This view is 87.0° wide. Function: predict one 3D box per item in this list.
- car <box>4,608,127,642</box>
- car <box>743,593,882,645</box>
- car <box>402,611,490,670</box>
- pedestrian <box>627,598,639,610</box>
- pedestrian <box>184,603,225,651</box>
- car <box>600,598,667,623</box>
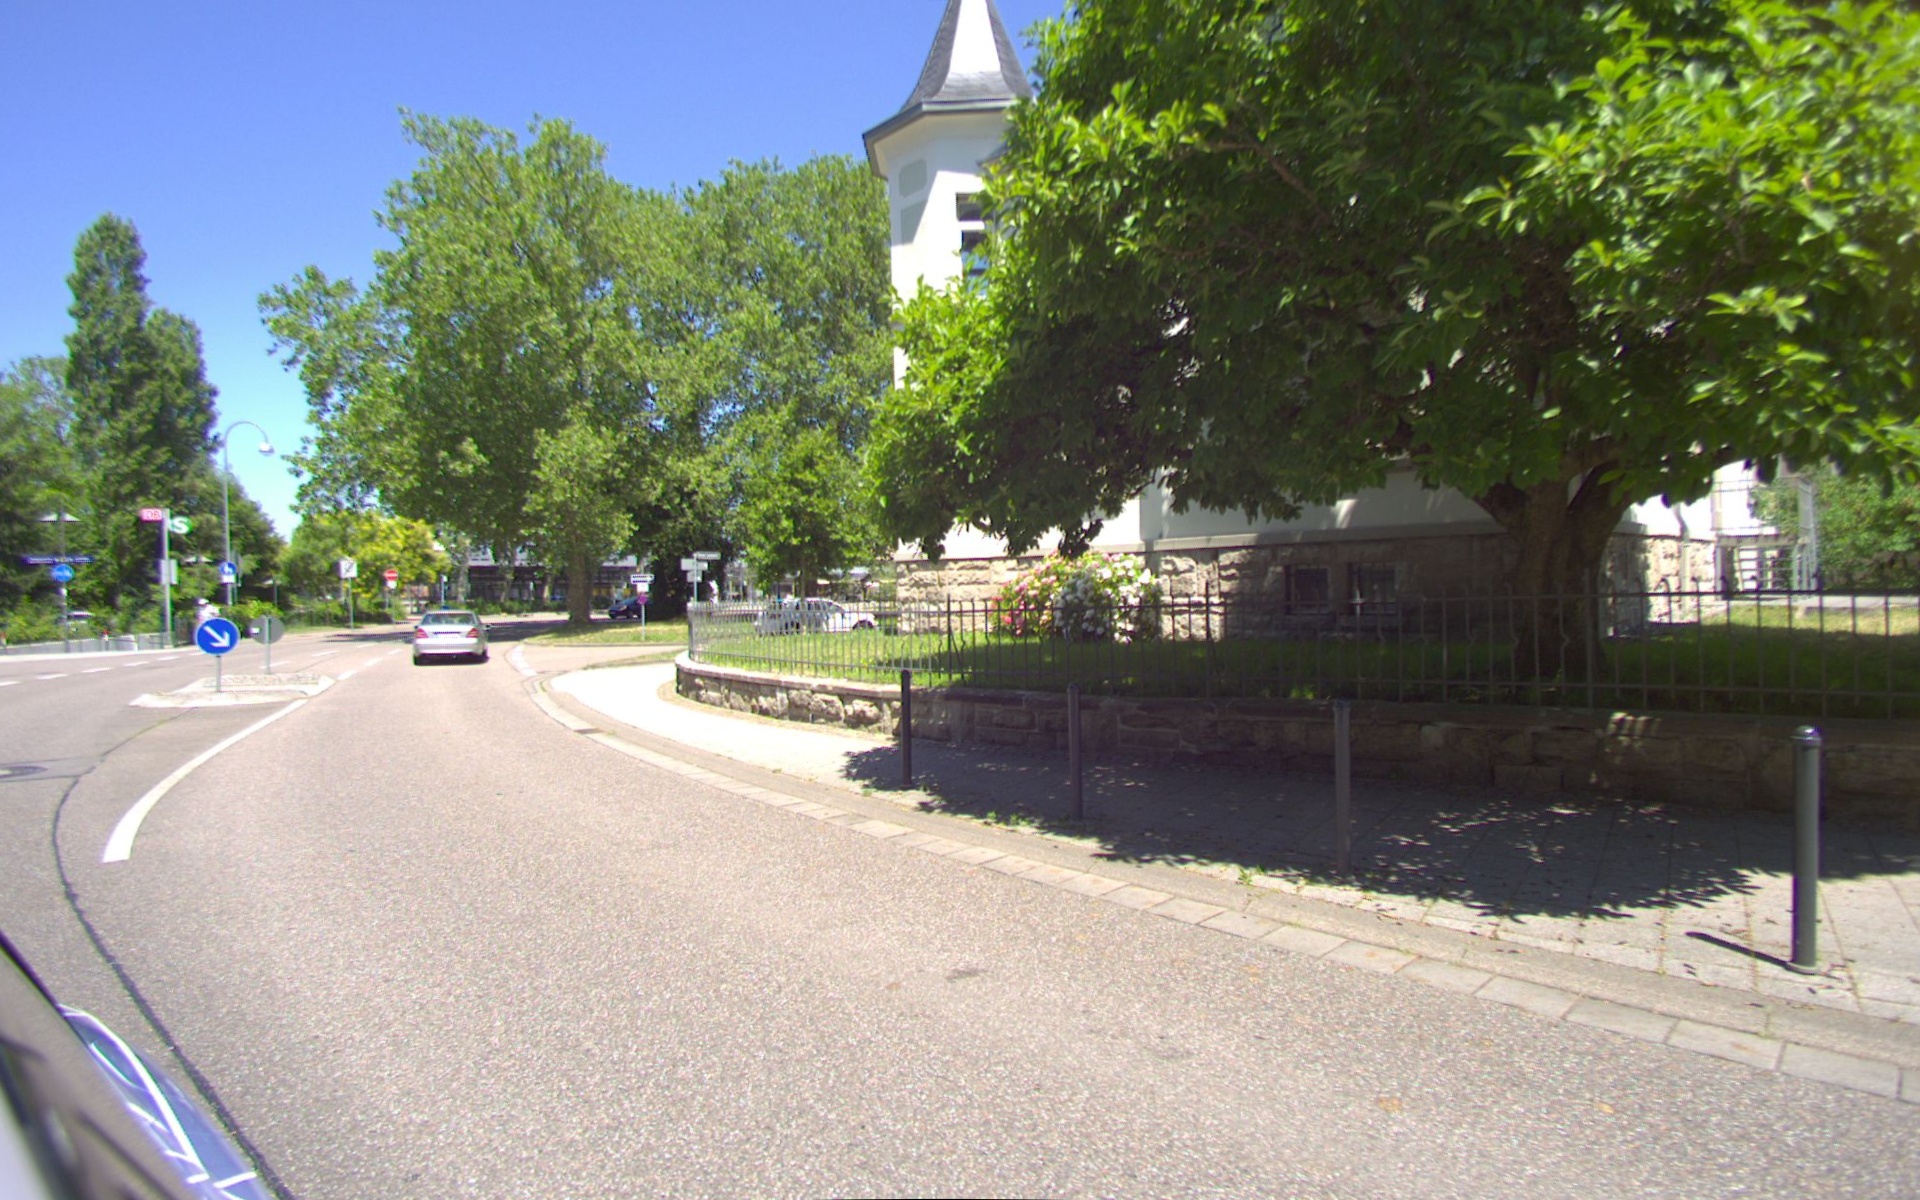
[{"bbox_3d":[-45.729,1.266,51.834,1.767,1.511,4.444,-1,1,37],"label":"car"},{"bbox_3d":[-4.923,0.619,33.977,4.231,1.635,1.883,0,-1,-33],"label":"car"},{"bbox_3d":[-13.851,1.028,27.463,1.733,1.446,4.318,0,0,-22],"label":"car"},{"bbox_3d":[-35.055,0.415,108.588,0.828,1.284,0.858,-1,1,33],"label":"pedestrian"},{"bbox_3d":[-28.645,1.016,38.395,0.901,1.785,0.916,1,0,-4],"label":"pedestrian"},{"bbox_3d":[-22.321,0.680,69.270,1.775,1.556,4.134,1,2,34],"label":"car"}]
